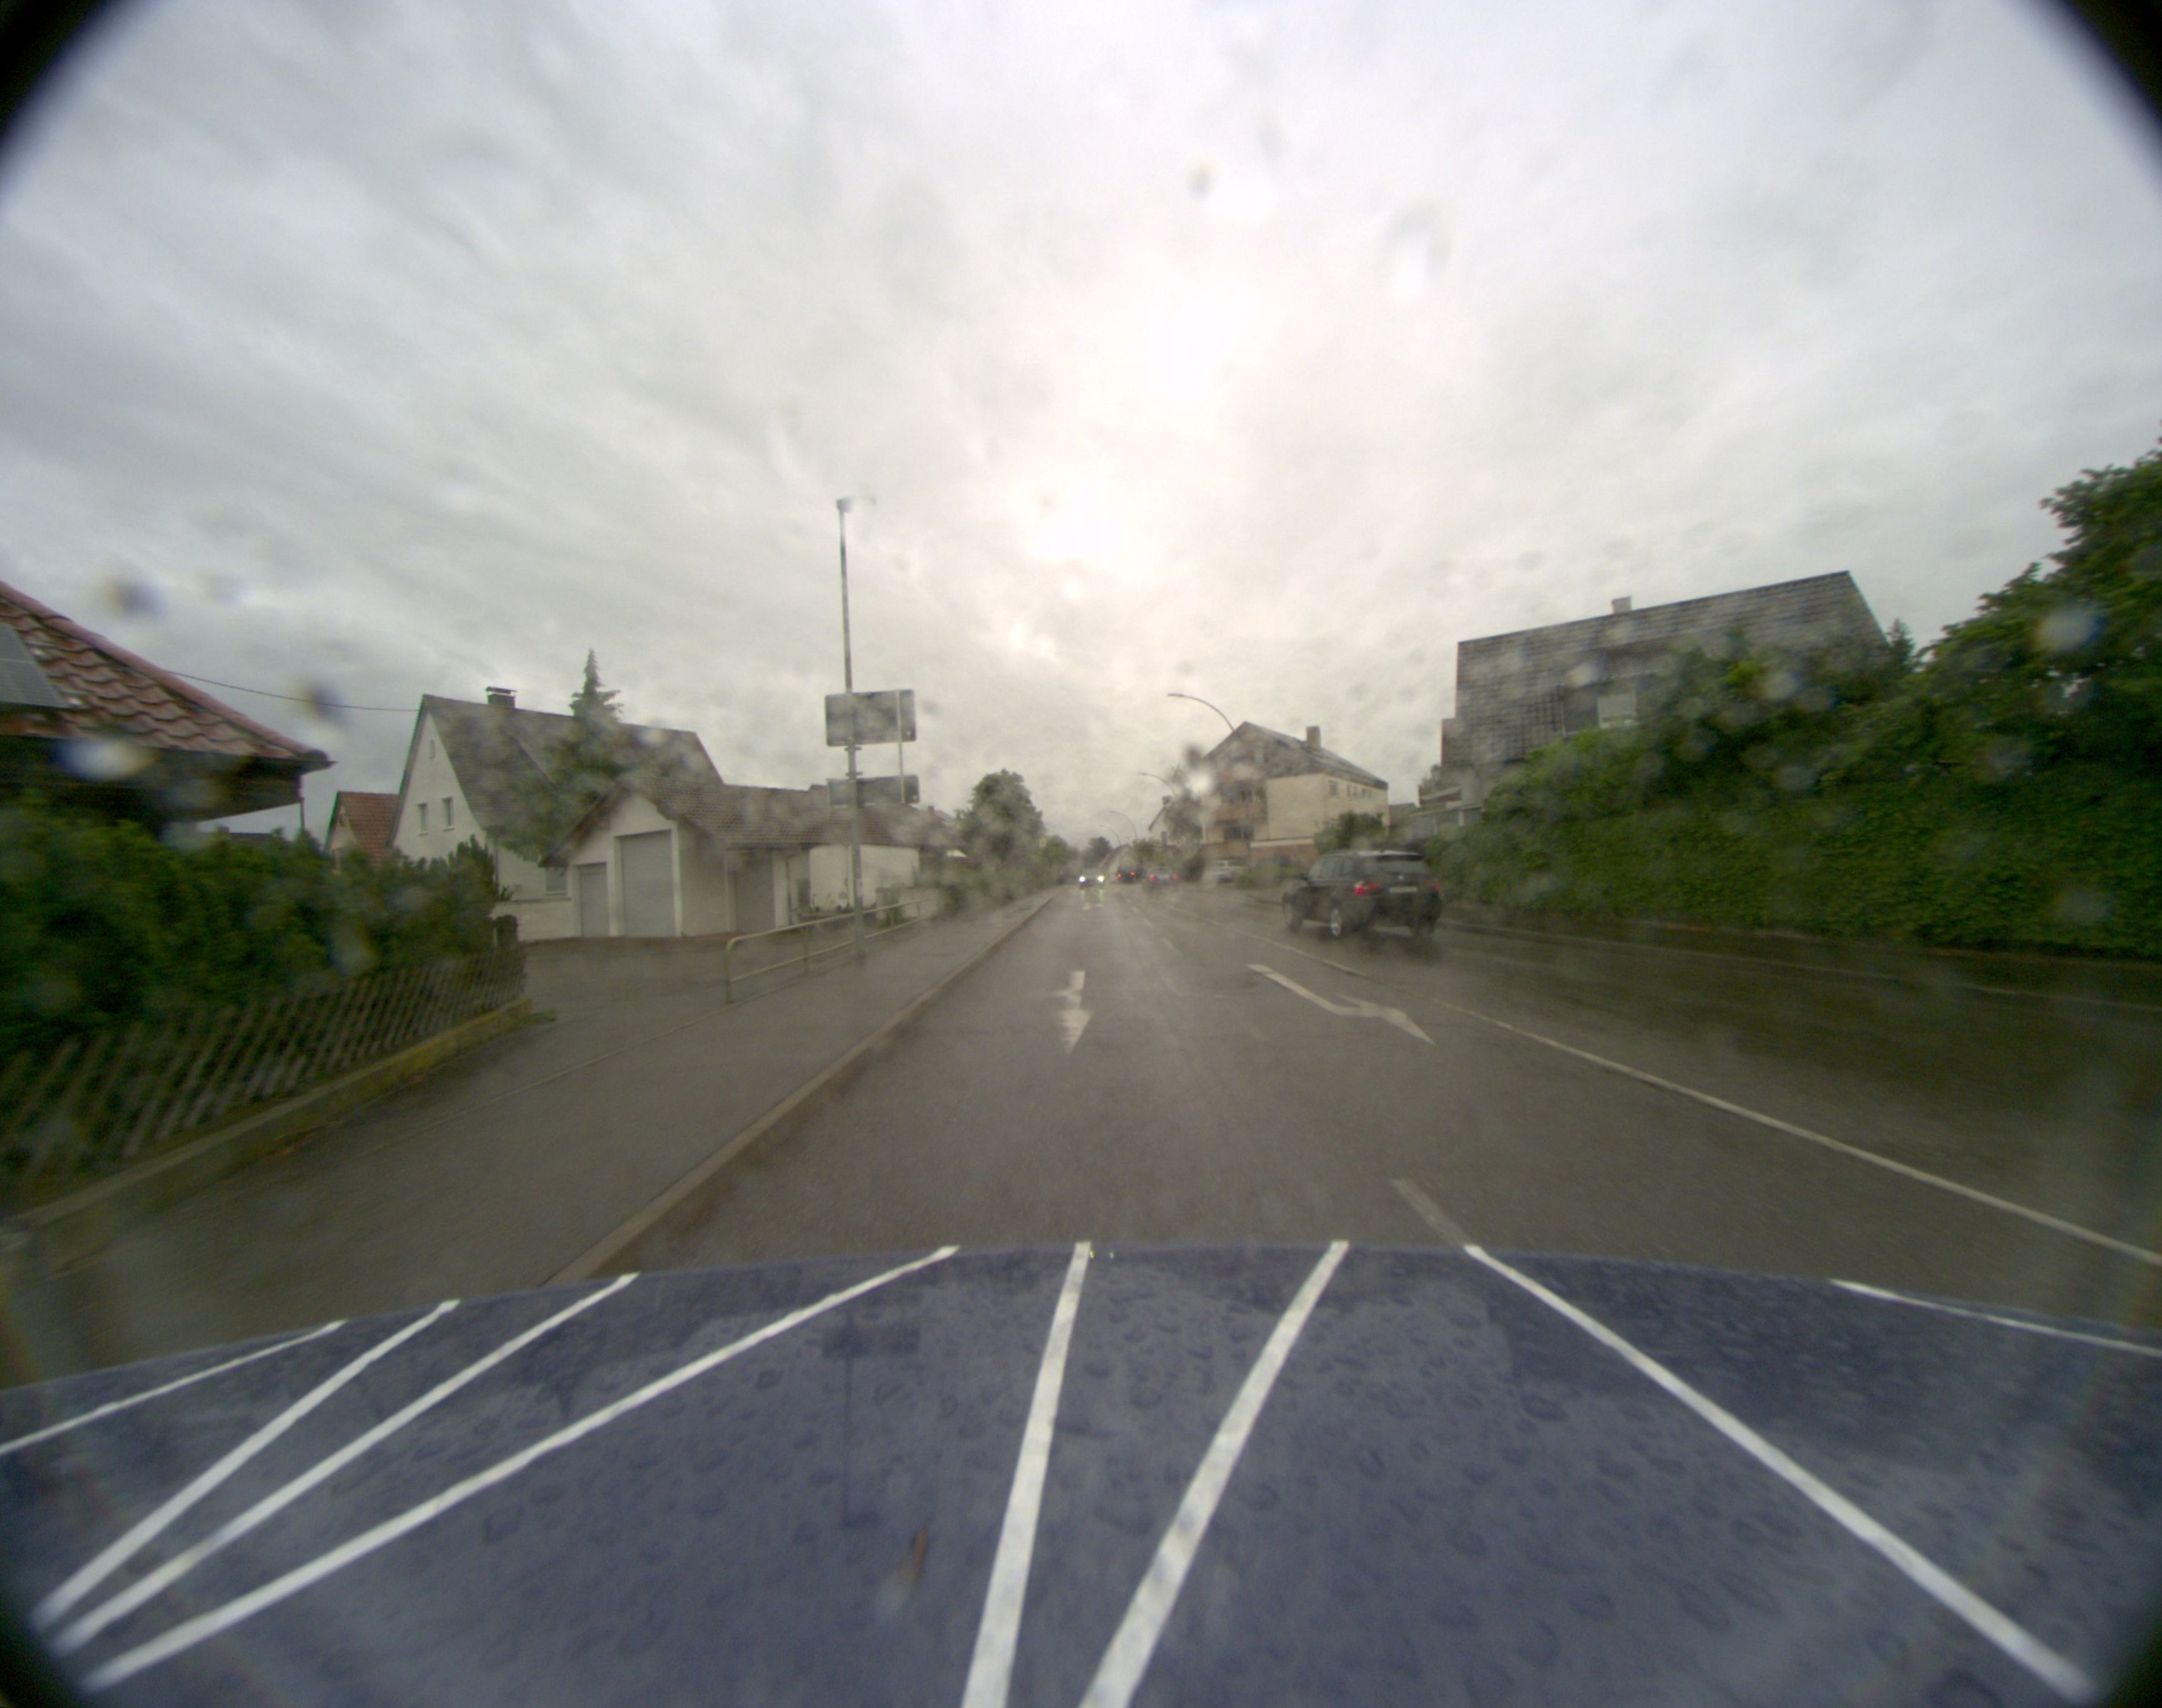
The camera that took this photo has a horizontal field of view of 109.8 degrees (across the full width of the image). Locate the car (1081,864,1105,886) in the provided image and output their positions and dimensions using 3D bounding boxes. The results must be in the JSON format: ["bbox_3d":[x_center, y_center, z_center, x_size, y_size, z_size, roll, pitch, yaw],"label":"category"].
[{"bbox_3d":[0.882,1.542,57.481,1.687,1.486,3.939,-3,0,1],"label":"car"}]

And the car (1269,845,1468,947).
[{"bbox_3d":[5.534,0.733,15.348,1.999,1.658,4.414,-3,0,-4],"label":"car"}]

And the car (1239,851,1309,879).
[{"bbox_3d":[11.641,0.674,45.845,3.661,1.510,1.758,-3,0,36],"label":"car"}]

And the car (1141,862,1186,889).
[{"bbox_3d":[4.642,1.185,43.386,1.998,1.396,4.623,-2,0,0],"label":"car"}]

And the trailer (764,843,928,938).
[{"bbox_3d":[-6.825,0.991,22.647,1.645,2.502,4.712,-3,0,30],"label":"trailer"}]

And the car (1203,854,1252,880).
[{"bbox_3d":[10.029,0.861,51.785,1.864,1.510,4.007,-2,0,33],"label":"car"}]
